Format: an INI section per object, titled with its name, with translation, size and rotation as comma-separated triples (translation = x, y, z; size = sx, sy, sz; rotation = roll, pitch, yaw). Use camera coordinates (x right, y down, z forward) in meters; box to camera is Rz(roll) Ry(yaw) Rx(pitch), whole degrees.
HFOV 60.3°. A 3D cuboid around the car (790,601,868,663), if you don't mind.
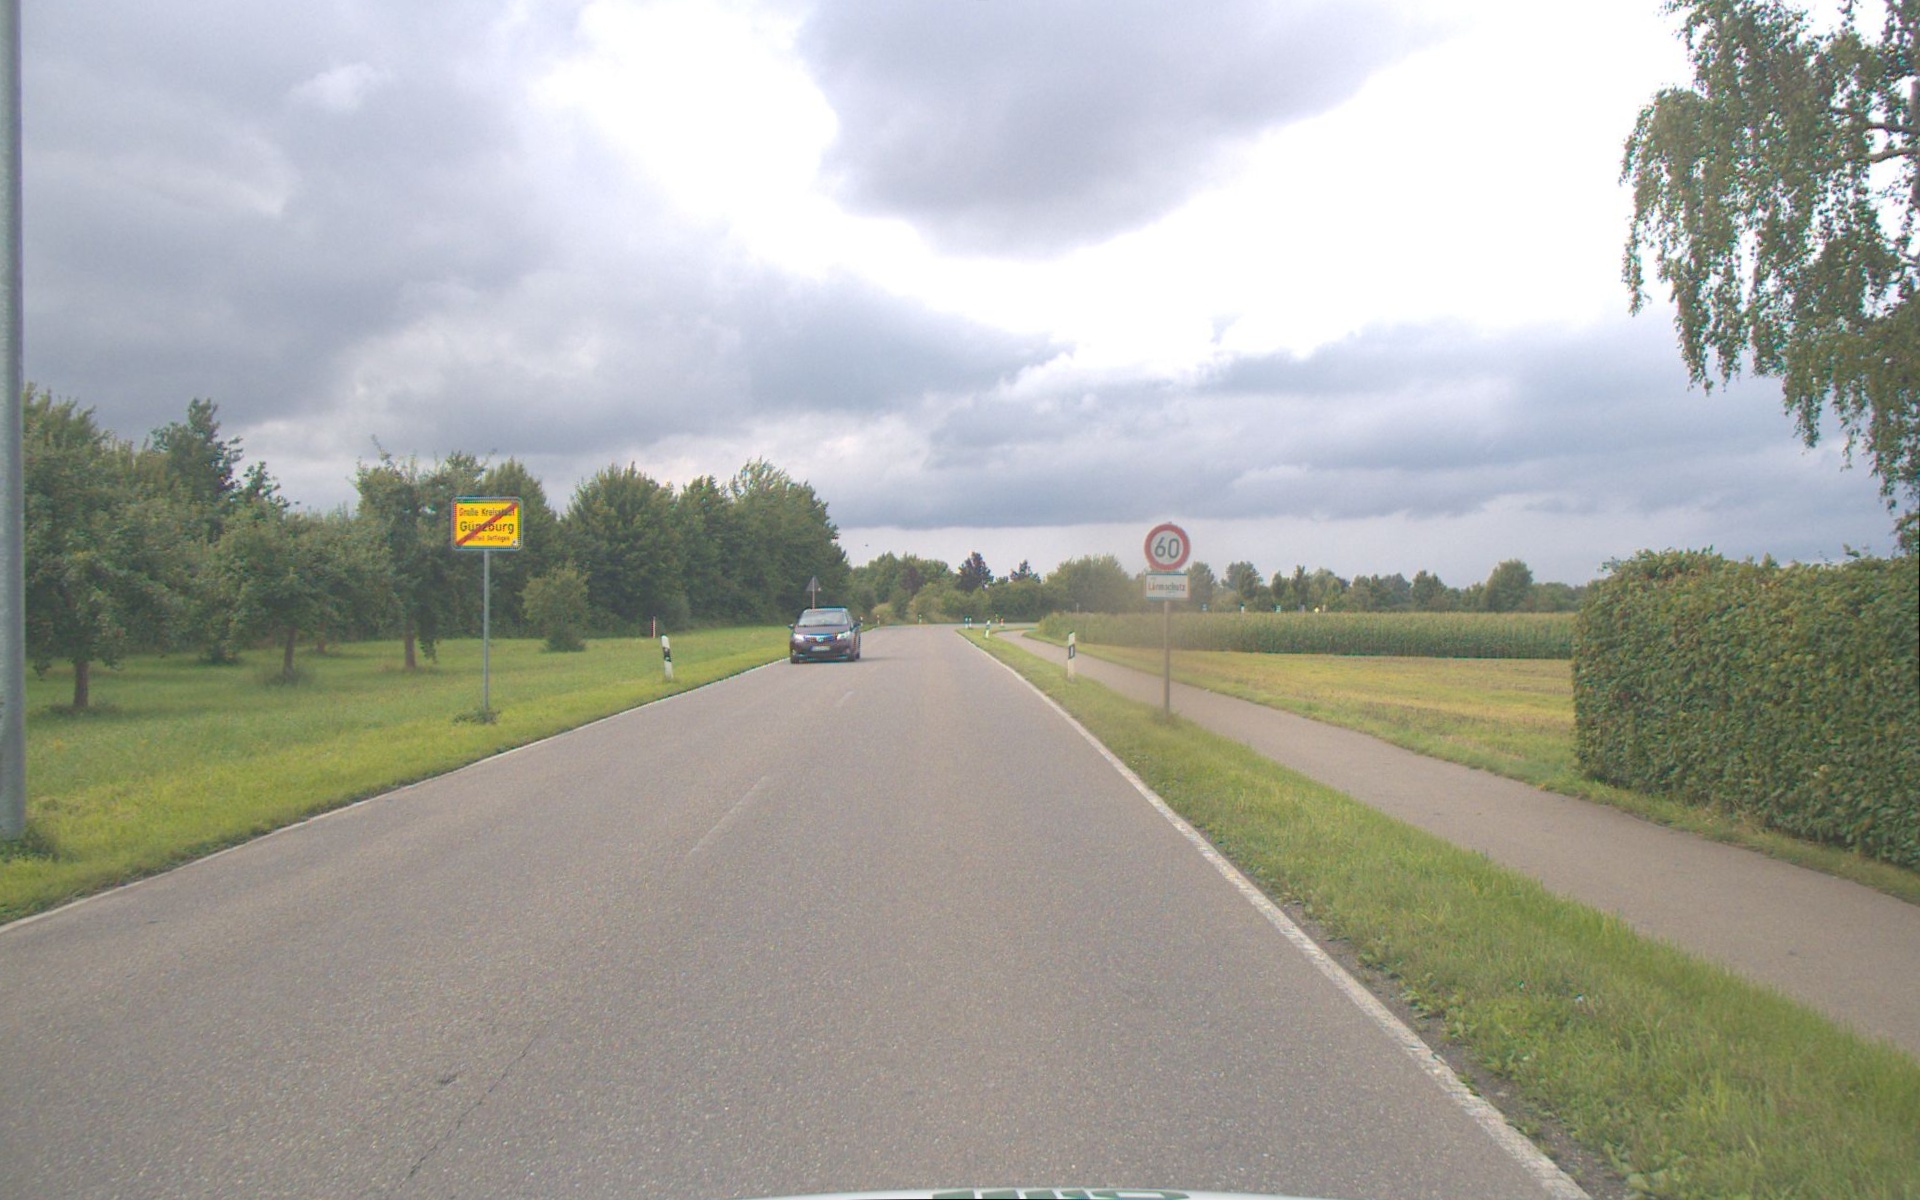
[car]
translation = -3.561, 0.845, 45.597
size = 1.826, 1.579, 4.181
rotation = -2, 0, -1
